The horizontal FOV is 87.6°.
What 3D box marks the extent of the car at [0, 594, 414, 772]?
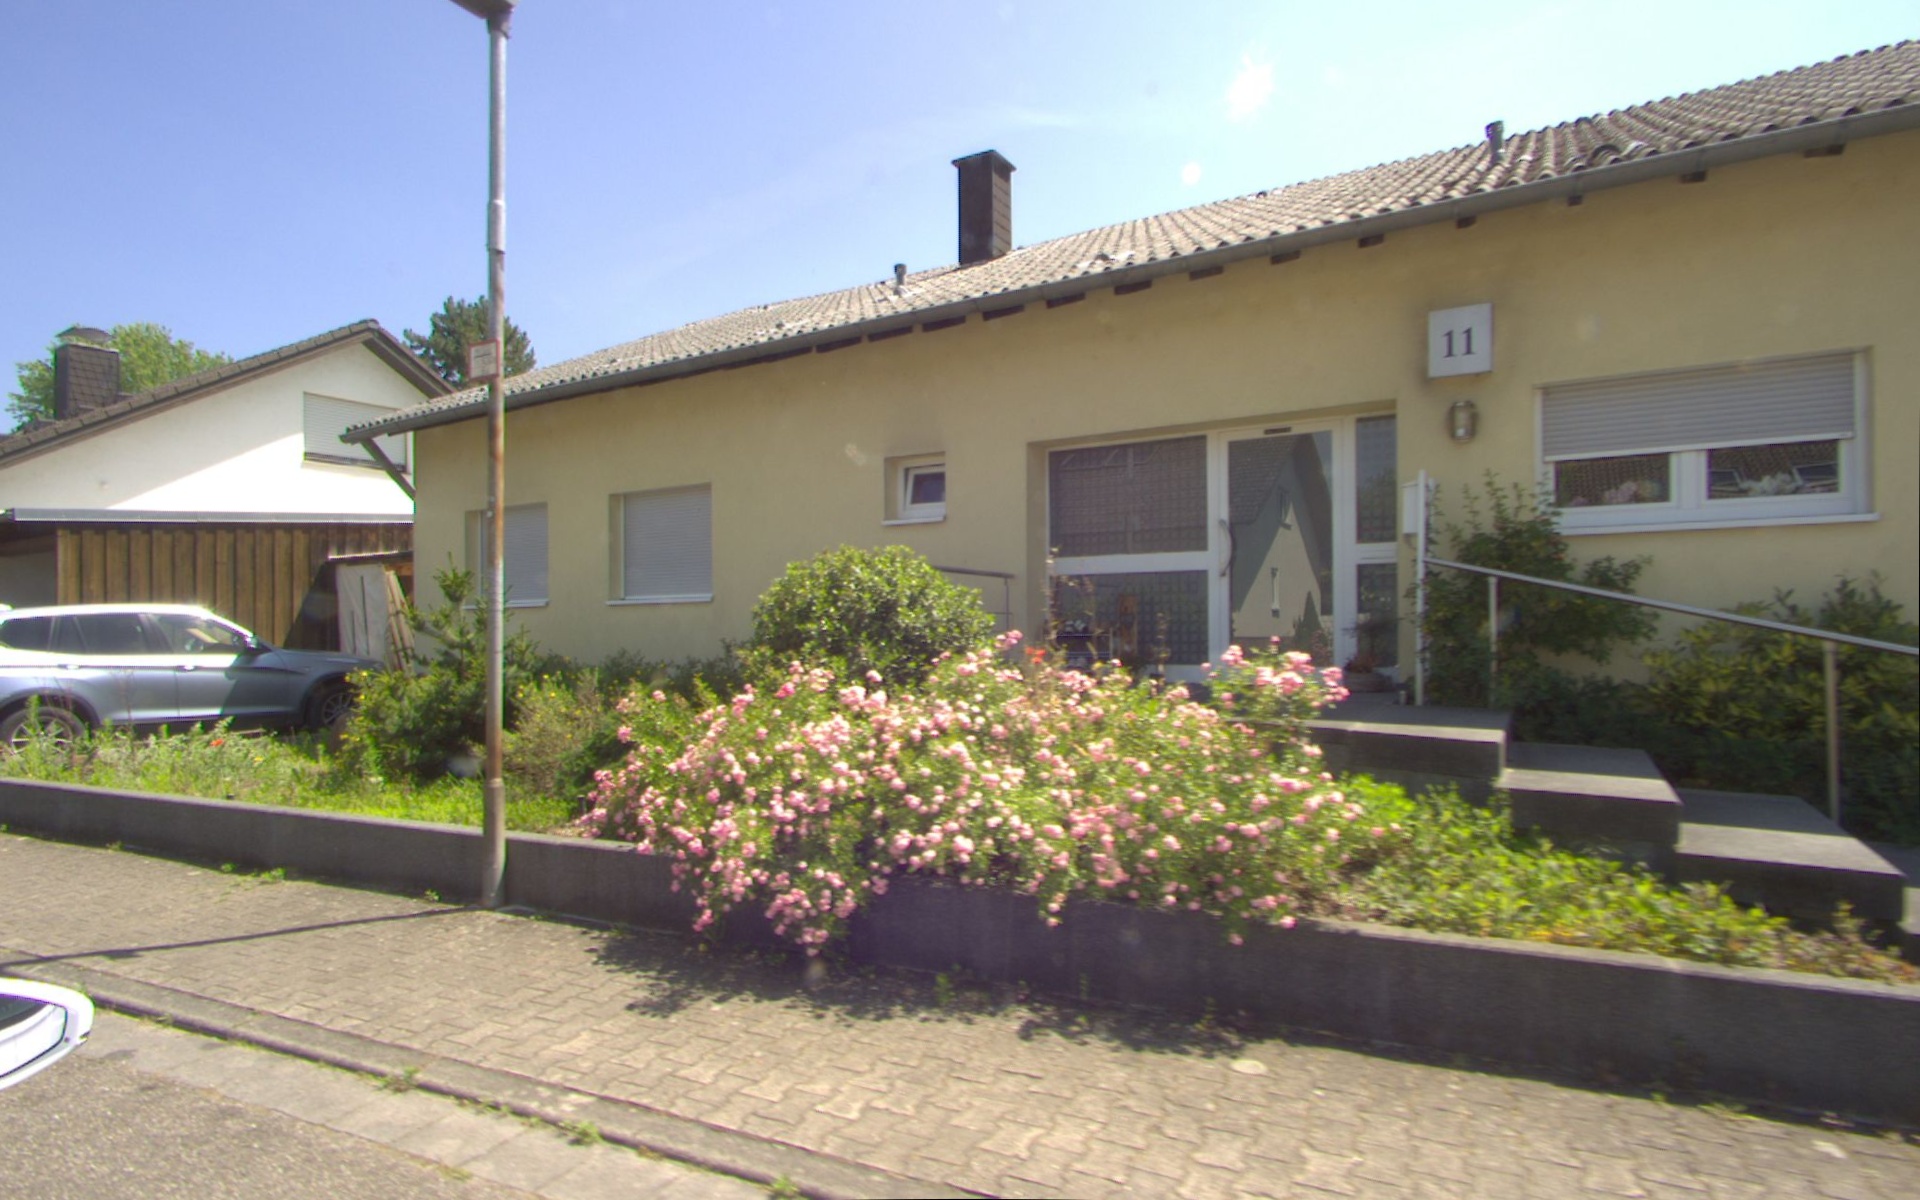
[{"bbox_3d":[-9.068,0.810,11.546,1.686,1.724,4.615,-1,0,34],"label":"car"}]
